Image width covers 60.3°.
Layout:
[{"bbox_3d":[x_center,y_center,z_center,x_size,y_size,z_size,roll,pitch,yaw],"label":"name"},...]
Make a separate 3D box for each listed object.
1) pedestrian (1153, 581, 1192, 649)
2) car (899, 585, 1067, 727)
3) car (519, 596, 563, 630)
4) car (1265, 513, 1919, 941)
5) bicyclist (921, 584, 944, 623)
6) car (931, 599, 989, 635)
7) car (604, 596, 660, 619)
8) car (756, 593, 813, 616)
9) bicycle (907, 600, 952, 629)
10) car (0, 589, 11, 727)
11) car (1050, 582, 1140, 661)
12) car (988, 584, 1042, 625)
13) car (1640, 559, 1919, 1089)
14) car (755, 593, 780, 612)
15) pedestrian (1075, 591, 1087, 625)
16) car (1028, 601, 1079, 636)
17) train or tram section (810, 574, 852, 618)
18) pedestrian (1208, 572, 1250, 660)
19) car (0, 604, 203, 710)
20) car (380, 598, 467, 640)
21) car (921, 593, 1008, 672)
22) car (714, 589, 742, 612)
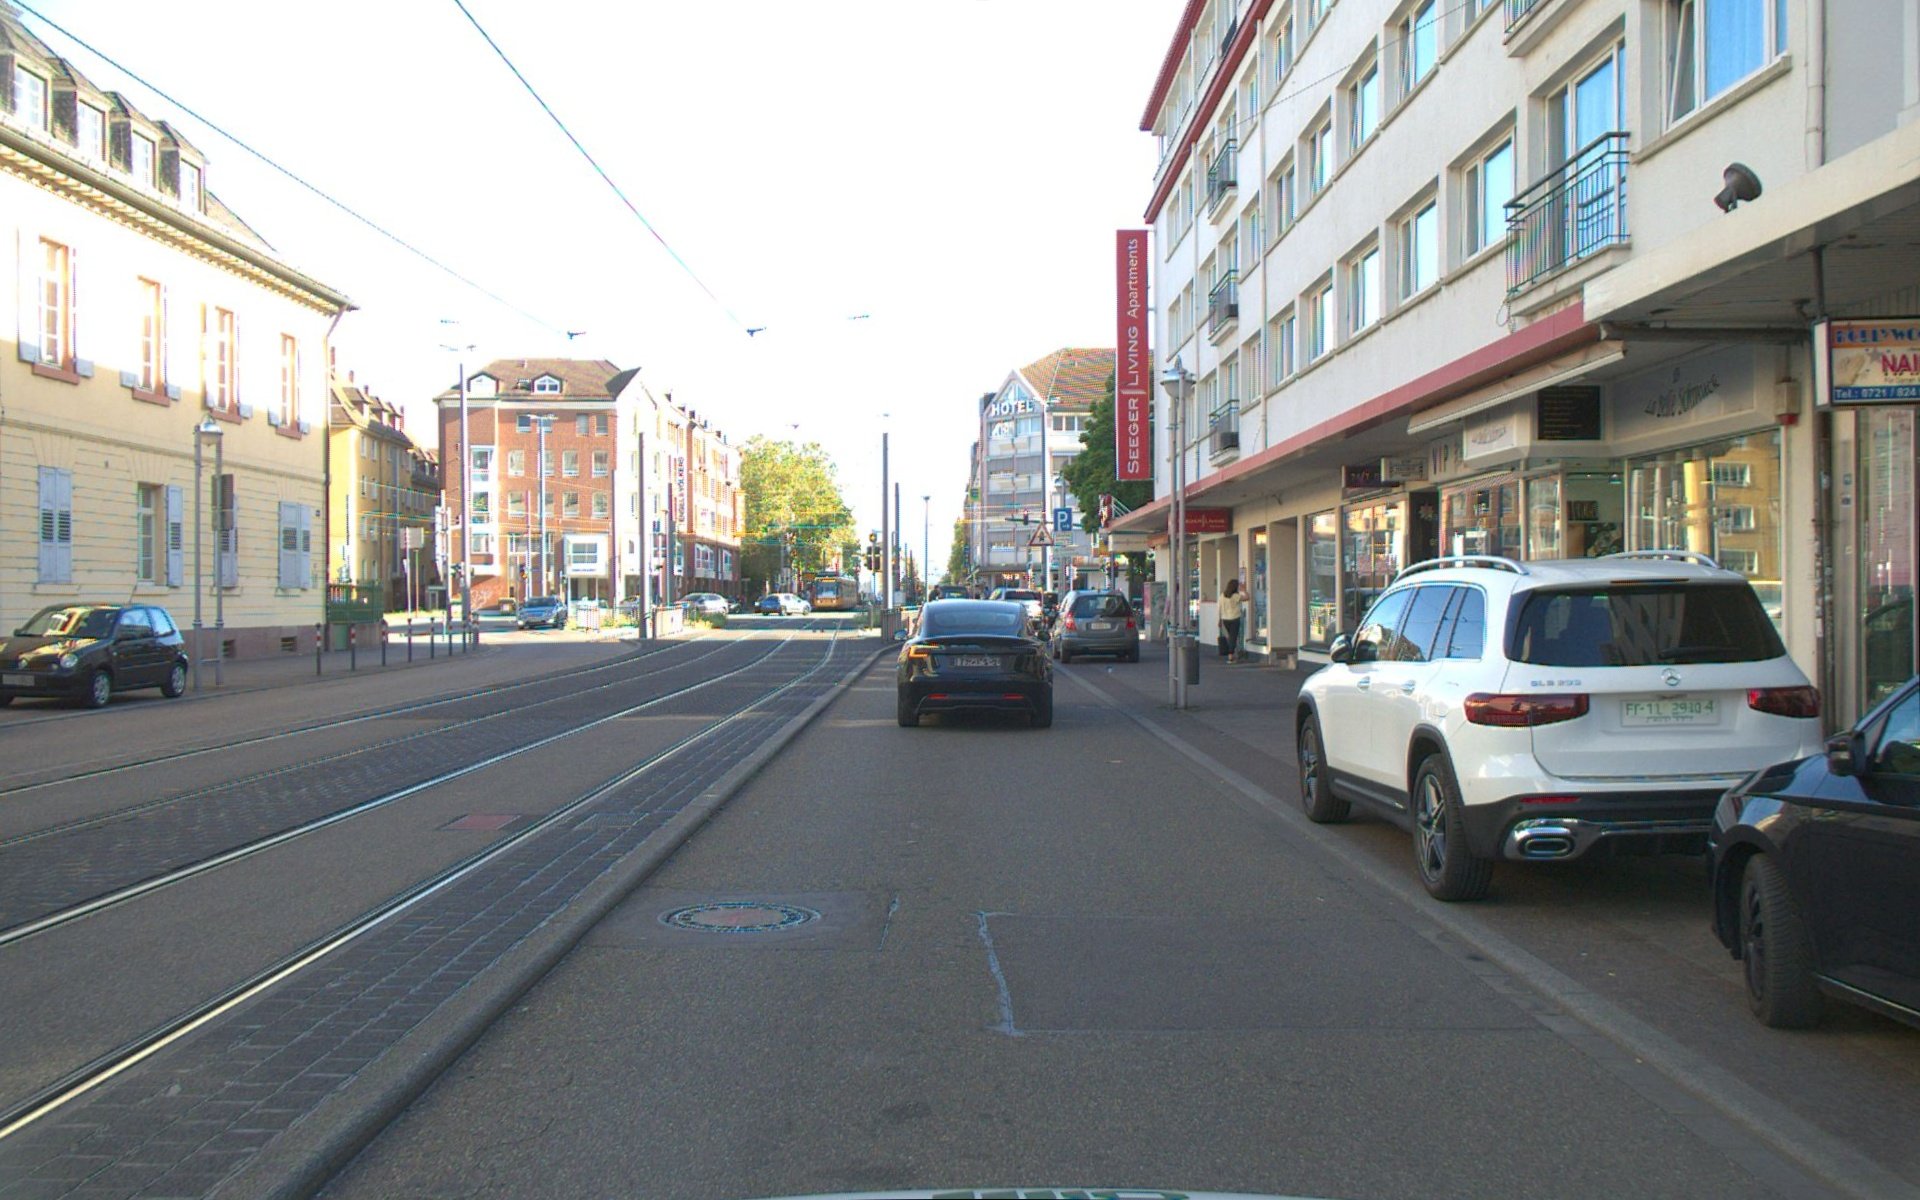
[{"bbox_3d":[5.427,0.387,42.236,0.800,1.712,0.714,1,-1,23],"label":"pedestrian"},{"bbox_3d":[0.206,0.622,19.963,1.811,1.510,3.786,1,0,-2],"label":"car"},{"bbox_3d":[-19.803,0.622,78.339,1.848,1.522,4.914,-1,0,-13],"label":"car"},{"bbox_3d":[3.232,0.549,9.655,1.812,1.754,5.191,-2,0,-1],"label":"car"},{"bbox_3d":[-1.090,0.129,66.134,0.820,1.526,0.559,2,-1,-8],"label":"bicyclist"},{"bbox_3d":[-0.031,0.765,76.477,1.793,1.545,4.204,2,0,-13],"label":"car"},{"bbox_3d":[-23.642,0.523,119.218,3.928,1.495,1.988,1,0,41],"label":"car"},{"bbox_3d":[-12.124,0.302,114.341,1.957,1.445,3.992,1,0,30],"label":"car"},{"bbox_3d":[-1.224,0.561,66.093,1.696,1.107,0.677,2,-1,-8],"label":"bicycle"},{"bbox_3d":[-12.917,0.688,18.474,1.770,1.715,4.649,2,0,2],"label":"car"},{"bbox_3d":[3.026,0.456,37.685,1.709,1.660,3.649,-2,0,0],"label":"car"},{"bbox_3d":[2.187,0.197,66.447,1.748,1.545,4.215,2,0,-3],"label":"car"},{"bbox_3d":[3.596,0.640,4.681,1.581,1.555,4.069,-1,0,-1],"label":"car"},{"bbox_3d":[-17.585,0.228,151.107,1.715,1.680,4.000,2,0,0],"label":"car"},{"bbox_3d":[6.237,0.405,85.285,0.550,1.712,0.750,1,0,5],"label":"pedestrian"},{"bbox_3d":[4.324,0.866,77.093,1.789,1.545,3.645,2,0,-5],"label":"car"},{"bbox_3d":[-11.810,-0.299,152.665,2.619,3.780,14.191,1,0,0],"label":"train or tram section"},{"bbox_3d":[5.641,0.334,34.621,0.786,1.805,0.933,-1,0,13],"label":"pedestrian"},{"bbox_3d":[-12.922,0.794,24.634,1.581,1.425,3.719,2,0,-1],"label":"car"},{"bbox_3d":[-20.204,0.693,62.407,1.863,1.489,4.000,2,0,1],"label":"car"},{"bbox_3d":[0.092,0.612,33.403,1.619,1.443,4.000,1,1,0],"label":"car"},{"bbox_3d":[-20.722,0.057,148.012,1.953,2.049,4.000,-1,0,0],"label":"car"}]
